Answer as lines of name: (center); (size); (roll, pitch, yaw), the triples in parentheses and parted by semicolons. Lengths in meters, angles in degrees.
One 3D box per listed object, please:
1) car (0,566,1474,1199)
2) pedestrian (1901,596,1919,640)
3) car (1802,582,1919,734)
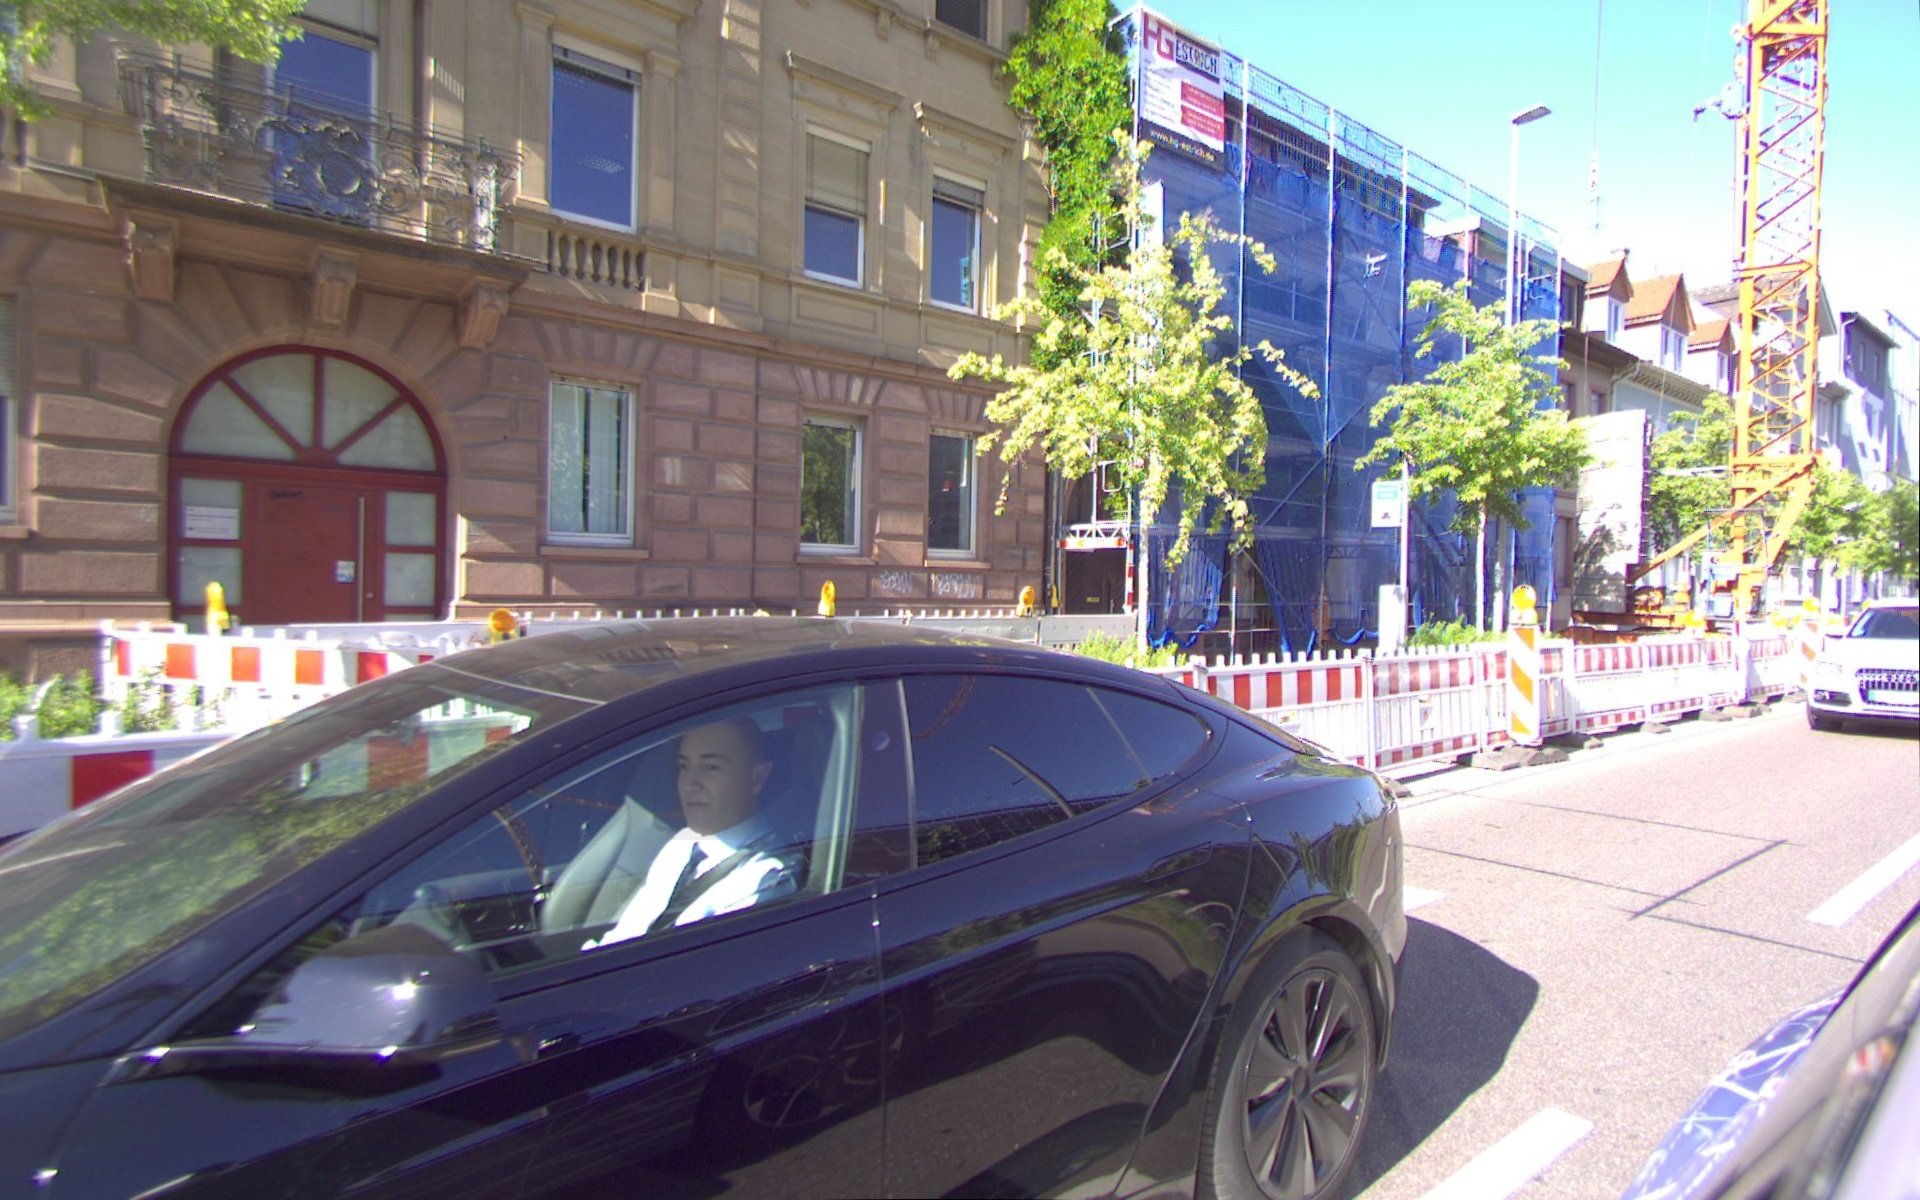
car: (-0.932, 0.699, 2.278); (4.441, 1.462, 2.056); (0, 0, -38)
pedestrian: (42.945, 0.823, 45.471); (0.788, 1.953, 0.763); (1, 0, 27)
car: (12.013, 0.642, 12.282); (3.926, 1.654, 1.934); (0, 0, -37)
